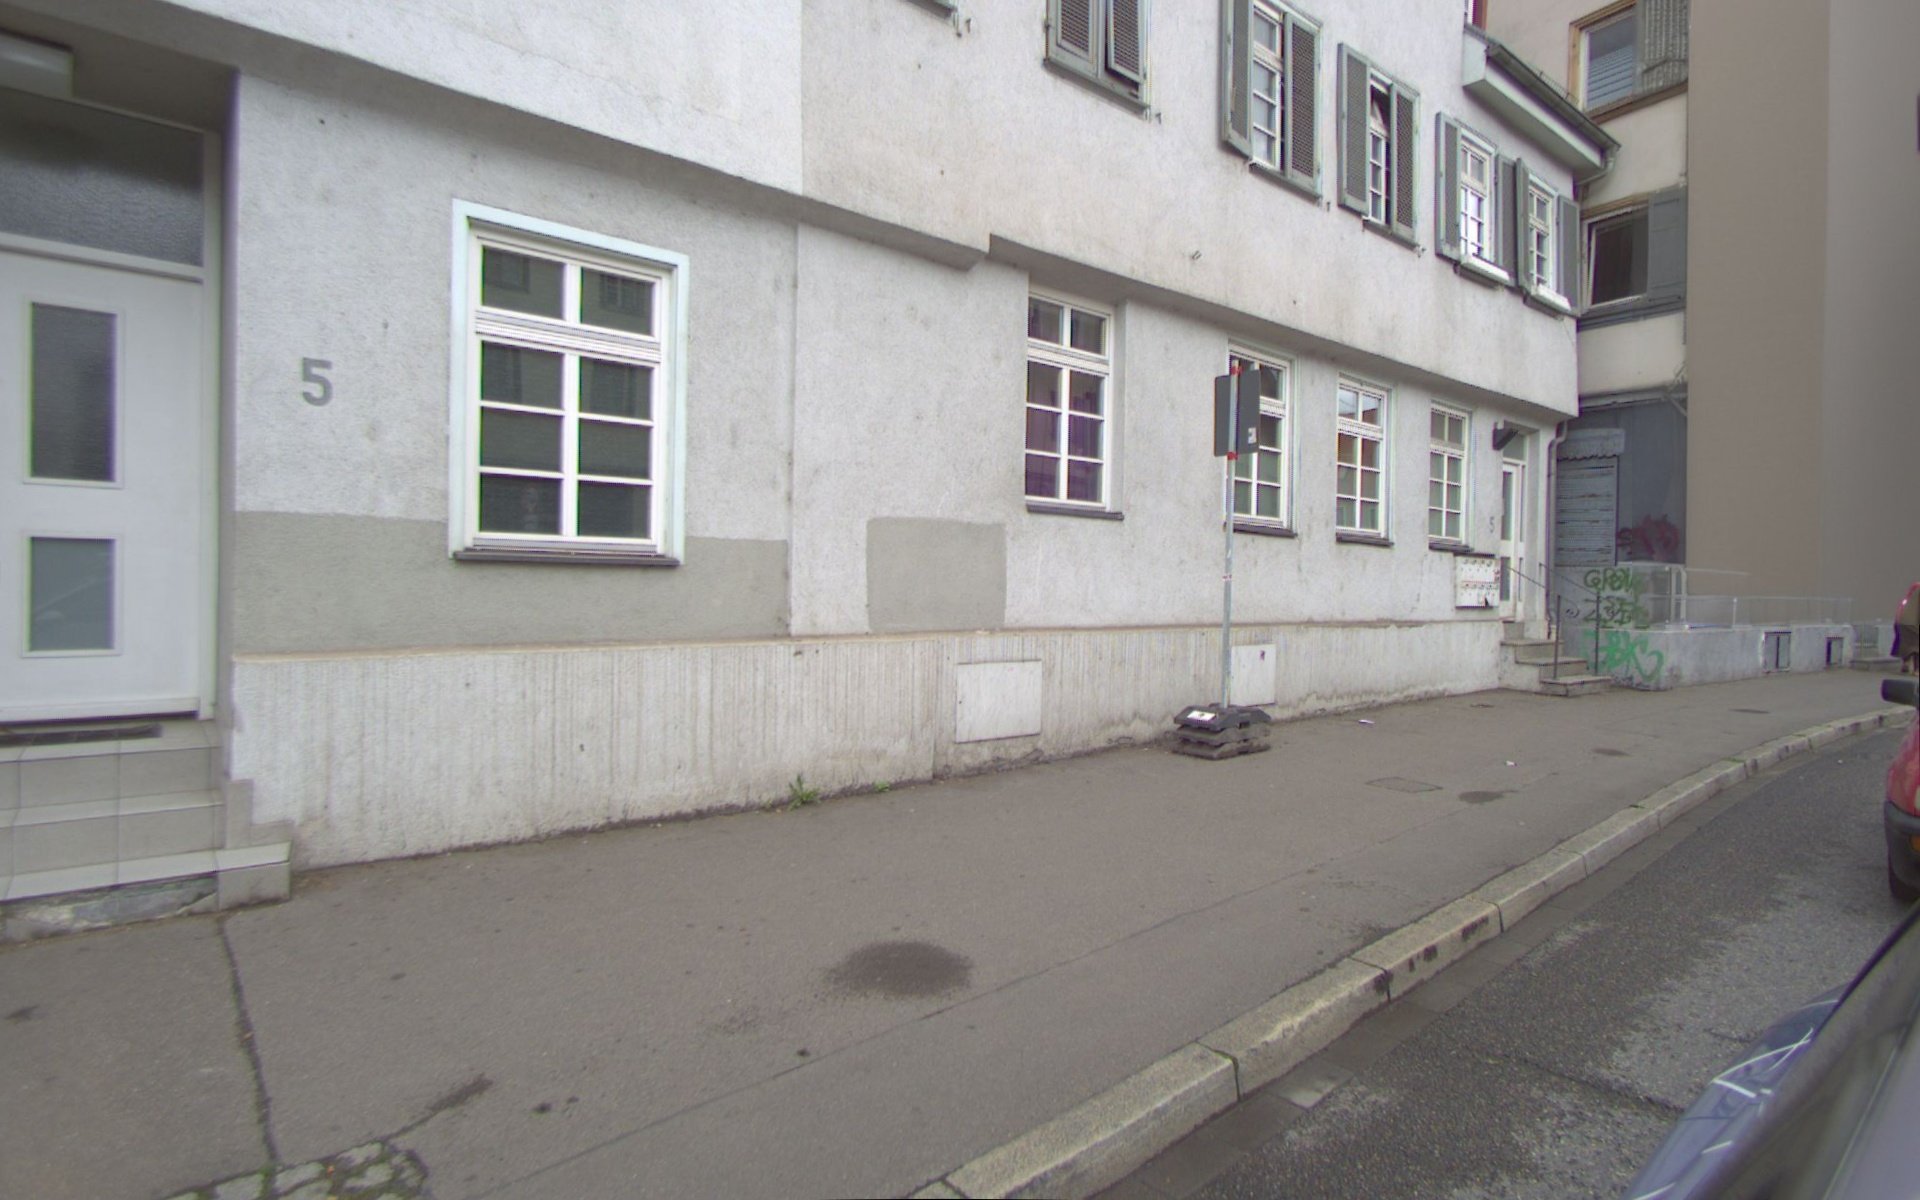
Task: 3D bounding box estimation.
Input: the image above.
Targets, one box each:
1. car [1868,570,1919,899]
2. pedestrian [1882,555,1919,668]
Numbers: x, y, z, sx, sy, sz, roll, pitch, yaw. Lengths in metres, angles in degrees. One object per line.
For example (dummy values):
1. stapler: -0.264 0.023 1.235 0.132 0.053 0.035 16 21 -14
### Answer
1. car: 6.140 0.621 5.252 3.952 1.444 1.684 0 1 -42
2. pedestrian: 14.881 0.185 15.548 0.793 1.687 0.759 1 3 -30
